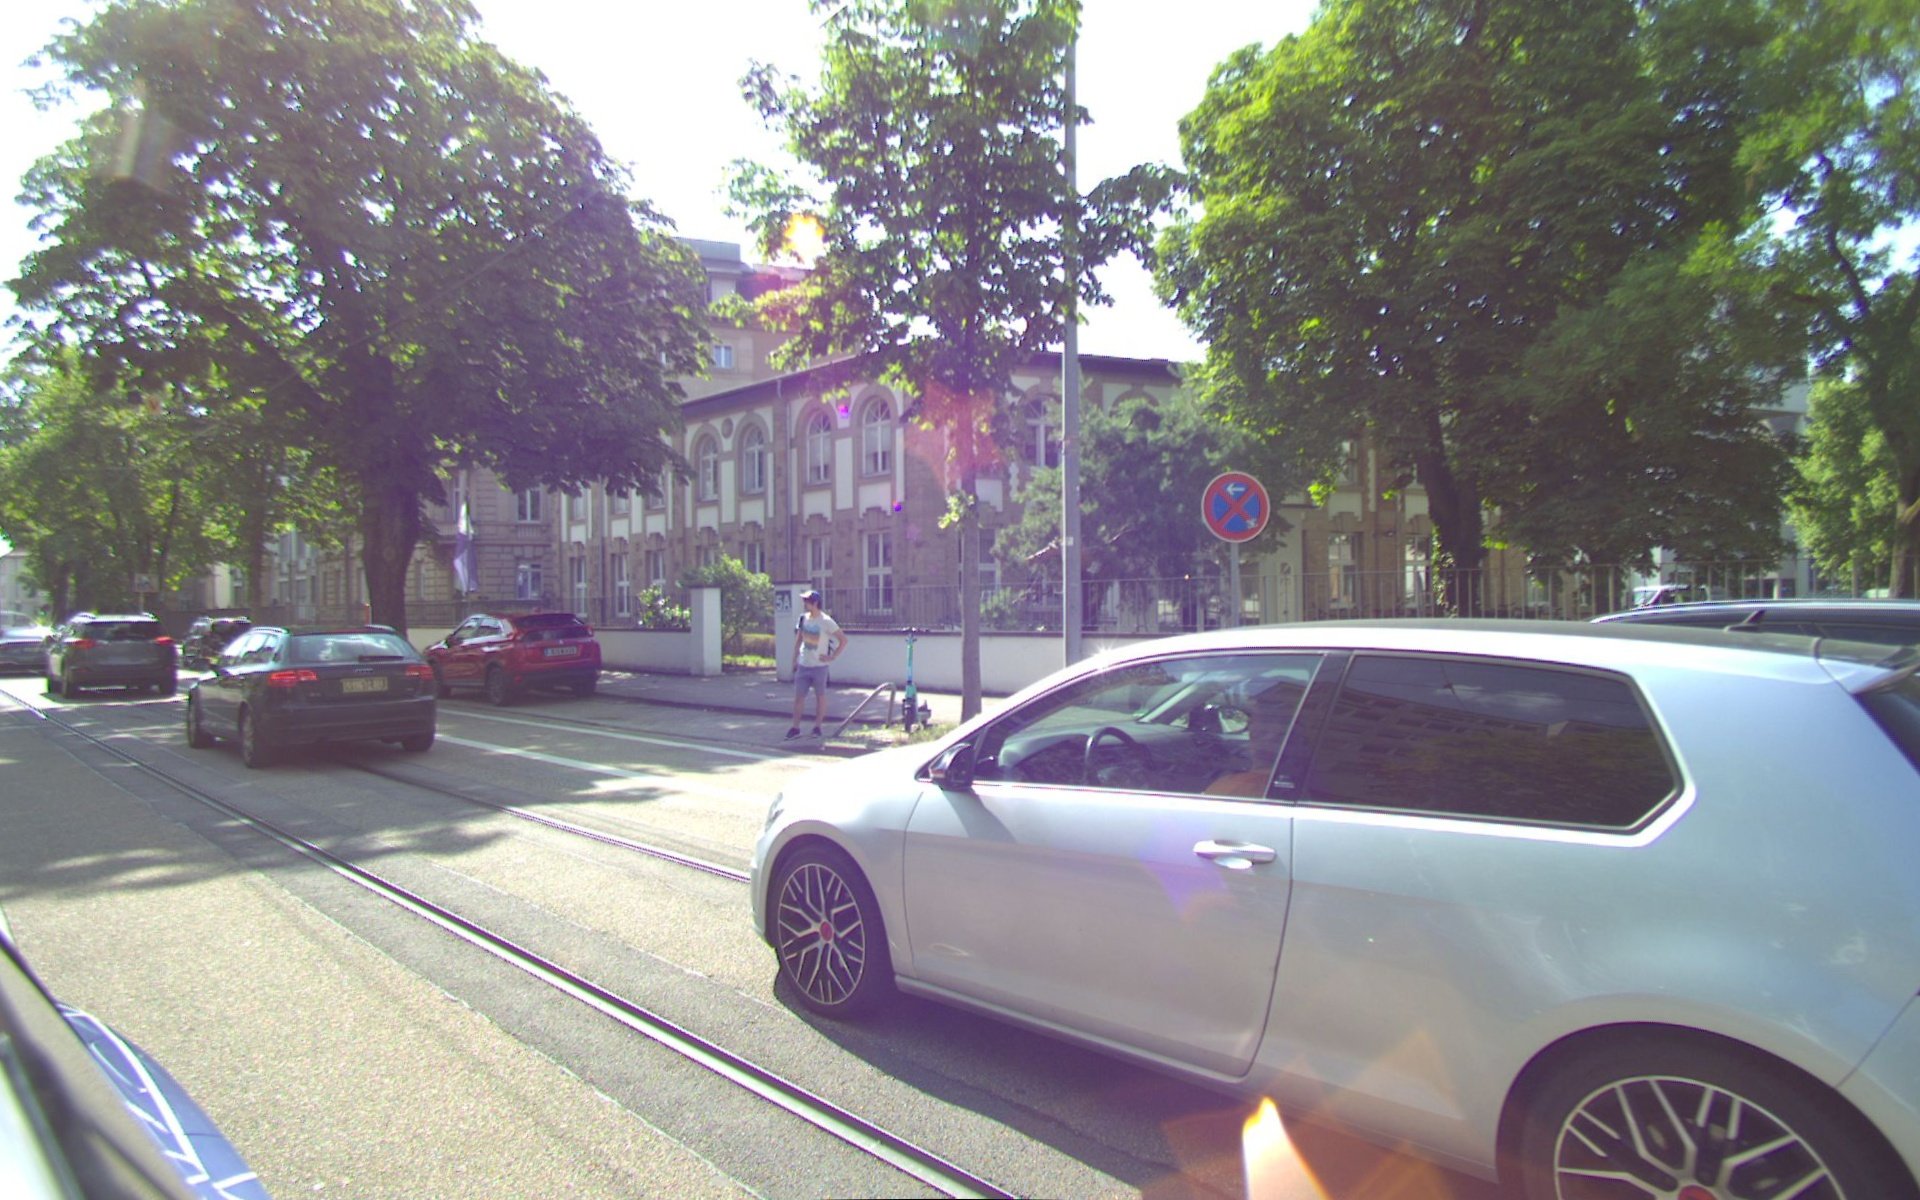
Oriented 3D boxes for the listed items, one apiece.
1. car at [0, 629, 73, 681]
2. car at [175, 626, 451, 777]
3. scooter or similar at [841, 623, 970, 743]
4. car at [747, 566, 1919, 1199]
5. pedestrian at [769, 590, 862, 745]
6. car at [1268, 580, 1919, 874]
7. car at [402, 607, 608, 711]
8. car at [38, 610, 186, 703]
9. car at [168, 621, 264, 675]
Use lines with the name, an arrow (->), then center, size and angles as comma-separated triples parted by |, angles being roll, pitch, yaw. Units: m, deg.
car -> -27.089, 1.532, 29.168 | 4.425, 1.399, 1.780 | -2, -2, 42
car -> -7.404, 0.994, 11.423 | 4.000, 1.386, 1.704 | -1, -2, 43
scooter or similar -> -0.644, 0.951, 12.180 | 0.854, 1.289, 1.325 | -1, 1, 41
car -> 1.178, 0.688, 3.244 | 3.852, 1.427, 1.754 | -1, -2, 43
pedestrian -> -1.738, 0.784, 12.220 | 0.750, 1.780, 0.782 | -1, 1, 33
car -> 4.633, 0.676, 6.805 | 4.588, 1.527, 1.732 | -1, 1, 40
car -> -8.688, 1.024, 19.113 | 4.719, 1.678, 1.732 | -1, 1, 42
car -> -17.877, 1.149, 21.257 | 4.390, 1.740, 1.806 | -3, -3, 42
car -> -25.716, 1.604, 34.907 | 4.330, 1.653, 1.787 | -1, 1, 42
